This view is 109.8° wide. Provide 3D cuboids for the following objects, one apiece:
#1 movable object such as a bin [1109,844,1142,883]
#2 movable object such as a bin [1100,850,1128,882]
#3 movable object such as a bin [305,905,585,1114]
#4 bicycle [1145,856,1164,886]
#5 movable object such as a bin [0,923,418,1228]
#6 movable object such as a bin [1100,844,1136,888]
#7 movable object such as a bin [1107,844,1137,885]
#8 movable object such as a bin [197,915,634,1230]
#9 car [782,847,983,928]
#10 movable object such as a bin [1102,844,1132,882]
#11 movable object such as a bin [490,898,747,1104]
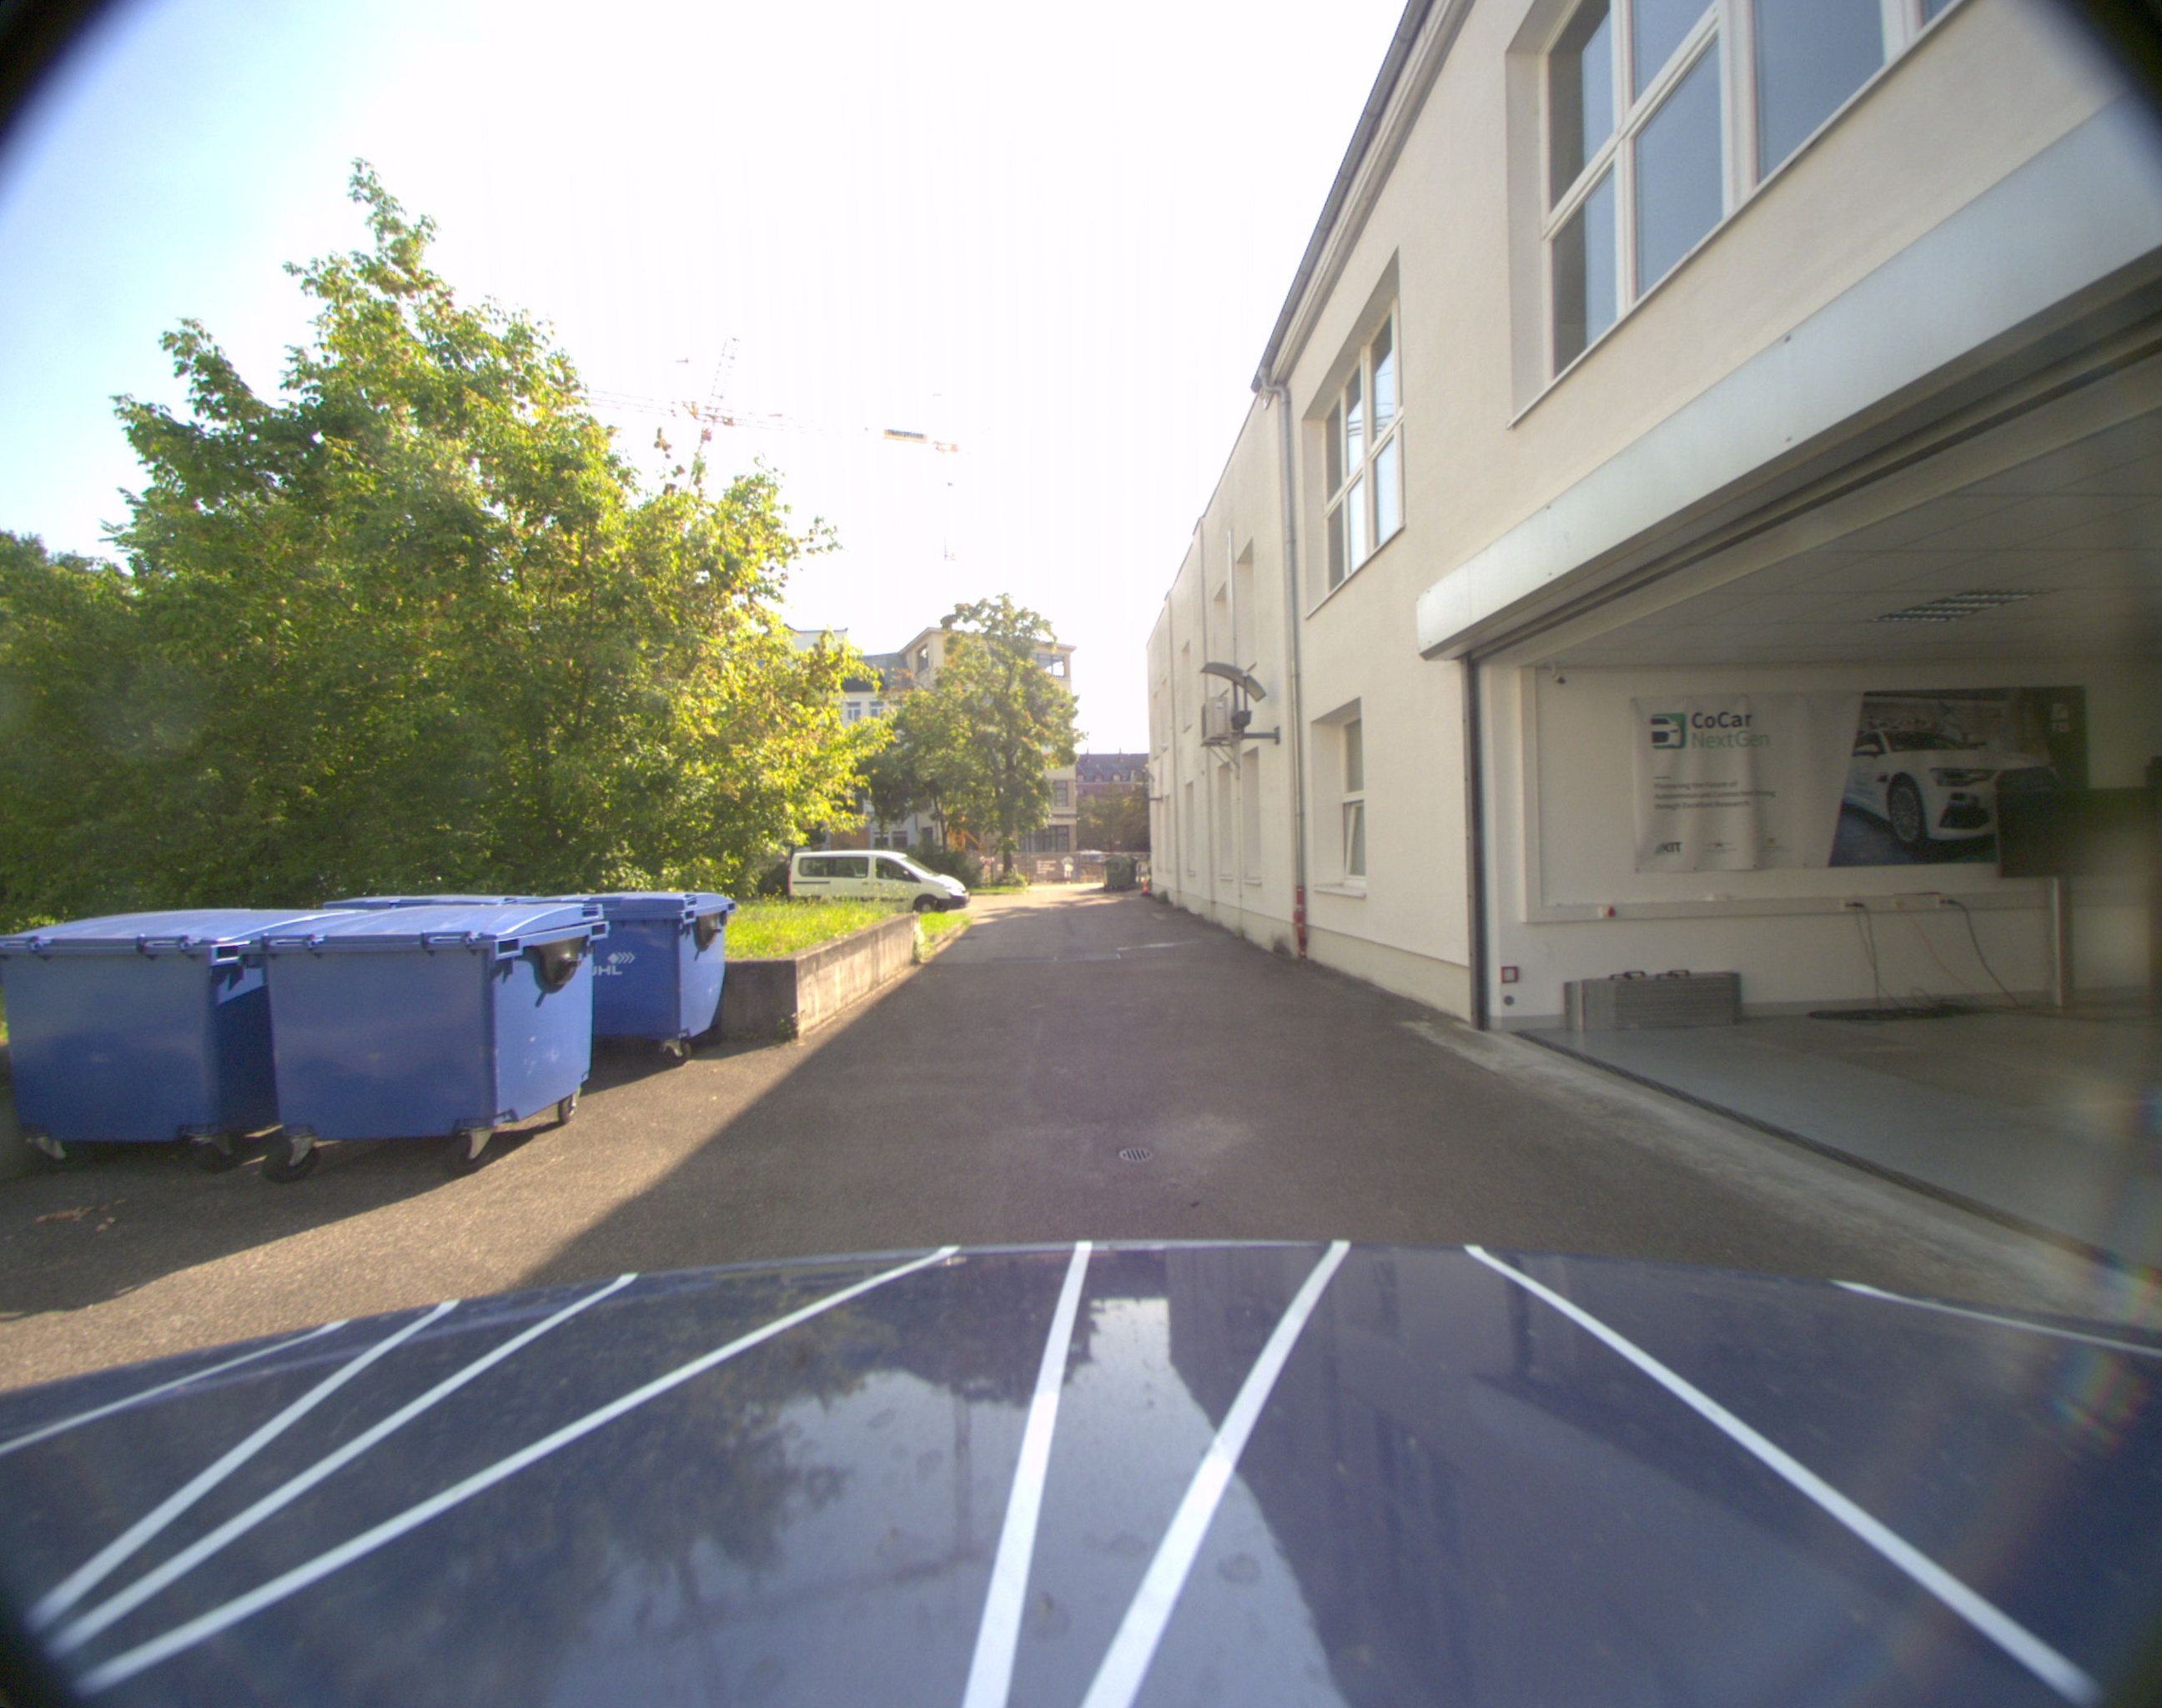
[{"bbox_3d":[1.988,0.401,34.183,1.184,1.696,1.376,-3,1,-6],"label":"movable object such as a bin"},{"bbox_3d":[1.588,0.586,36.972,1.037,1.489,1.106,-3,1,-13],"label":"movable object such as a bin"},{"bbox_3d":[-4.877,1.138,5.964,1.230,1.333,1.076,-3,1,-6],"label":"movable object such as a bin"},{"bbox_3d":[3.142,0.697,32.543,0.477,1.206,2.007,-3,1,-3],"label":"bicycle"},{"bbox_3d":[-4.859,1.134,4.246,1.237,1.333,1.117,-2,1,2],"label":"movable object such as a bin"},{"bbox_3d":[1.489,0.482,30.959,1.184,1.696,1.376,-3,1,-6],"label":"movable object such as a bin"},{"bbox_3d":[1.750,0.437,32.768,1.183,1.696,1.395,-2,1,2],"label":"movable object such as a bin"},{"bbox_3d":[-3.529,1.094,4.242,1.304,1.333,1.194,-2,1,-2],"label":"movable object such as a bin"},{"bbox_3d":[-5.440,0.887,21.345,4.970,1.910,2.043,-3,2,0],"label":"car"},{"bbox_3d":[1.678,0.389,35.572,1.184,1.696,1.376,-3,1,-6],"label":"movable object such as a bin"},{"bbox_3d":[-3.543,1.080,5.994,1.313,1.333,1.099,-3,1,-5],"label":"movable object such as a bin"}]
